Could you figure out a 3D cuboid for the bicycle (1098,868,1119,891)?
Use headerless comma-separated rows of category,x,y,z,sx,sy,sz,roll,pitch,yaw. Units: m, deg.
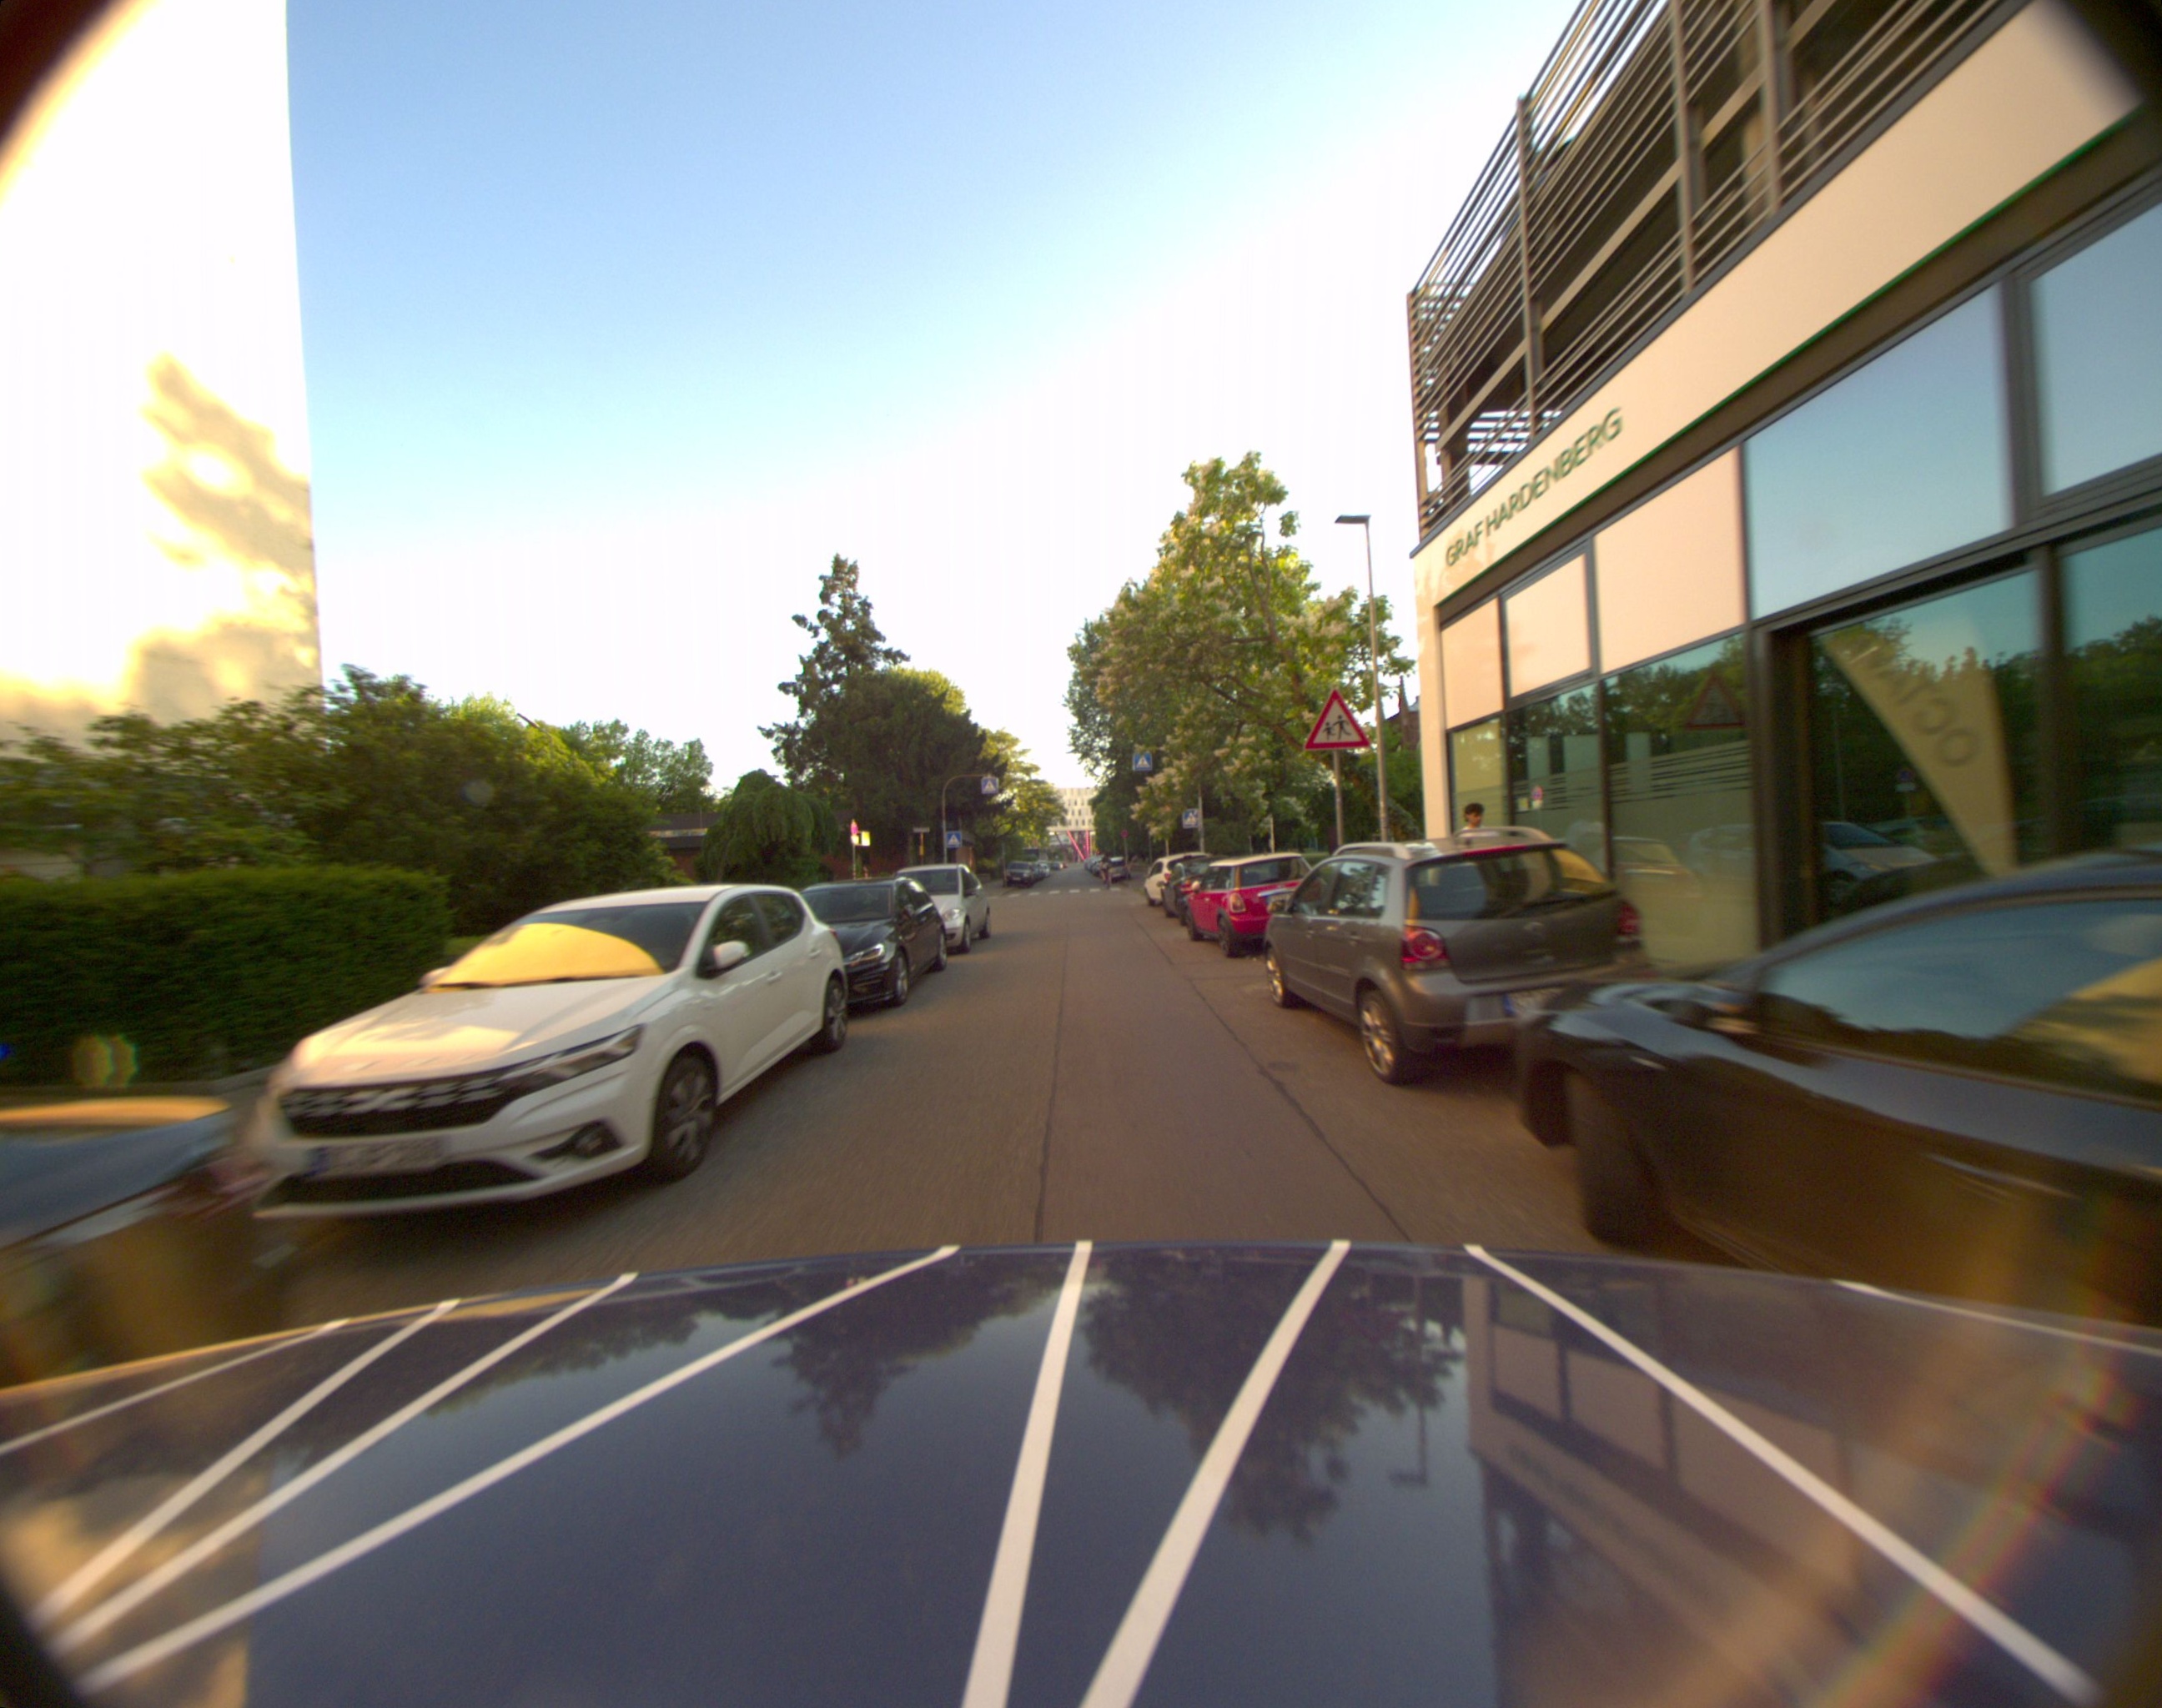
bicycle,1.380,1.252,38.036,0.761,1.090,1.863,-2,-1,-6

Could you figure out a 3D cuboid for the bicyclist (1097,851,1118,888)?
bicyclist,1.323,0.758,38.176,0.861,1.797,1.016,-3,-1,-6

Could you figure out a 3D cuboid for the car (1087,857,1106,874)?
car,1.993,1.512,97.248,1.965,1.825,3.884,-8,-1,-3

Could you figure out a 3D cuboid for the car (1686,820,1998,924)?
car,13.540,0.320,13.923,1.702,1.552,3.920,-3,-1,-1

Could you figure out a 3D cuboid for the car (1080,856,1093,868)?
car,0.960,1.379,133.154,1.786,1.772,4.012,-8,-1,-3

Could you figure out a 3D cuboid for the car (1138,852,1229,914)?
car,2.926,0.838,22.586,1.666,1.505,3.883,-6,-1,-6

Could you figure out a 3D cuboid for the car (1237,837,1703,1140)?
car,2.597,0.784,6.237,1.666,1.488,3.885,-8,-1,0

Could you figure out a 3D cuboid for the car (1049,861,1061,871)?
car,-4.823,2.197,140.638,1.999,1.739,4.000,-4,-1,-3

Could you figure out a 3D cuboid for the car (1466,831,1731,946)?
car,8.119,0.508,12.416,1.597,1.513,3.876,-3,-1,-1

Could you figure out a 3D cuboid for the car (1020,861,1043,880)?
car,-4.020,1.358,62.169,1.786,1.491,3.884,1,-1,-3

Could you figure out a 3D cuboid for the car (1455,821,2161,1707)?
car,2.632,0.696,1.323,1.733,1.394,4.006,-8,-1,-2

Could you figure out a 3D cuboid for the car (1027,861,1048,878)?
car,-3.835,1.359,67.617,1.786,1.491,3.884,1,-1,-3

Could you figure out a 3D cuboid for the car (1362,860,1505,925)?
car,8.048,0.846,17.686,1.597,1.285,3.451,-3,-1,-1

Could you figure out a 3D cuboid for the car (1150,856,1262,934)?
car,2.798,0.889,18.030,1.666,1.407,4.414,-8,-1,-1

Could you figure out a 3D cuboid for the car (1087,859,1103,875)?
car,2.005,1.842,107.530,1.786,2.024,3.884,-8,-1,-3

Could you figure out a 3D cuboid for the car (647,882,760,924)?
car,-15.560,2.008,31.521,3.790,1.476,1.723,-3,-1,-9

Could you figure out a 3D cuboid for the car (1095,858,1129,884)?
car,2.037,1.139,50.767,1.786,1.442,3.884,-8,-1,-3

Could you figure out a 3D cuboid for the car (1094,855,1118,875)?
car,2.284,1.068,70.646,1.786,1.562,3.884,-8,-1,-3

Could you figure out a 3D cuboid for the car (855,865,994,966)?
car,-2.804,1.048,14.522,1.814,1.566,3.885,-3,-1,-1

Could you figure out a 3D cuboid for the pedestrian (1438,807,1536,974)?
pedestrian,4.778,0.421,8.983,0.723,1.867,0.620,-3,-1,1

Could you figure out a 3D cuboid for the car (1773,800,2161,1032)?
car,8.405,0.416,6.359,1.597,1.640,3.876,-3,-1,-1

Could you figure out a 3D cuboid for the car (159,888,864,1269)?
car,-2.971,1.041,5.174,1.814,1.408,3.896,-3,-1,0

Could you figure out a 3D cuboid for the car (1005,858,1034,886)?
car,-4.052,1.190,50.578,1.786,1.743,3.884,-1,-1,-3

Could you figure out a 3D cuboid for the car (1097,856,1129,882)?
car,2.289,1.100,55.441,1.786,1.568,3.884,-8,-1,-3

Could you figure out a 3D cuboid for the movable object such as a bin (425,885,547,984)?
movable object such as a bin,-9.273,1.214,11.913,0.879,1.407,1.300,-3,-1,-5

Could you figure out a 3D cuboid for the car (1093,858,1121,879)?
car,2.093,1.176,62.439,1.786,1.468,3.884,-8,-1,-3

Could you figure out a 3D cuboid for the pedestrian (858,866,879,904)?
pedestrian,-9.869,1.441,35.289,0.826,1.715,0.860,1,0,-19

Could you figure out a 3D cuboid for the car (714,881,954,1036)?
car,-2.840,1.128,9.717,1.721,1.410,4.028,-3,-1,-1

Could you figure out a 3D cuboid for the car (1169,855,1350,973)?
car,2.698,0.867,12.475,1.666,1.402,3.927,-8,-1,-4
